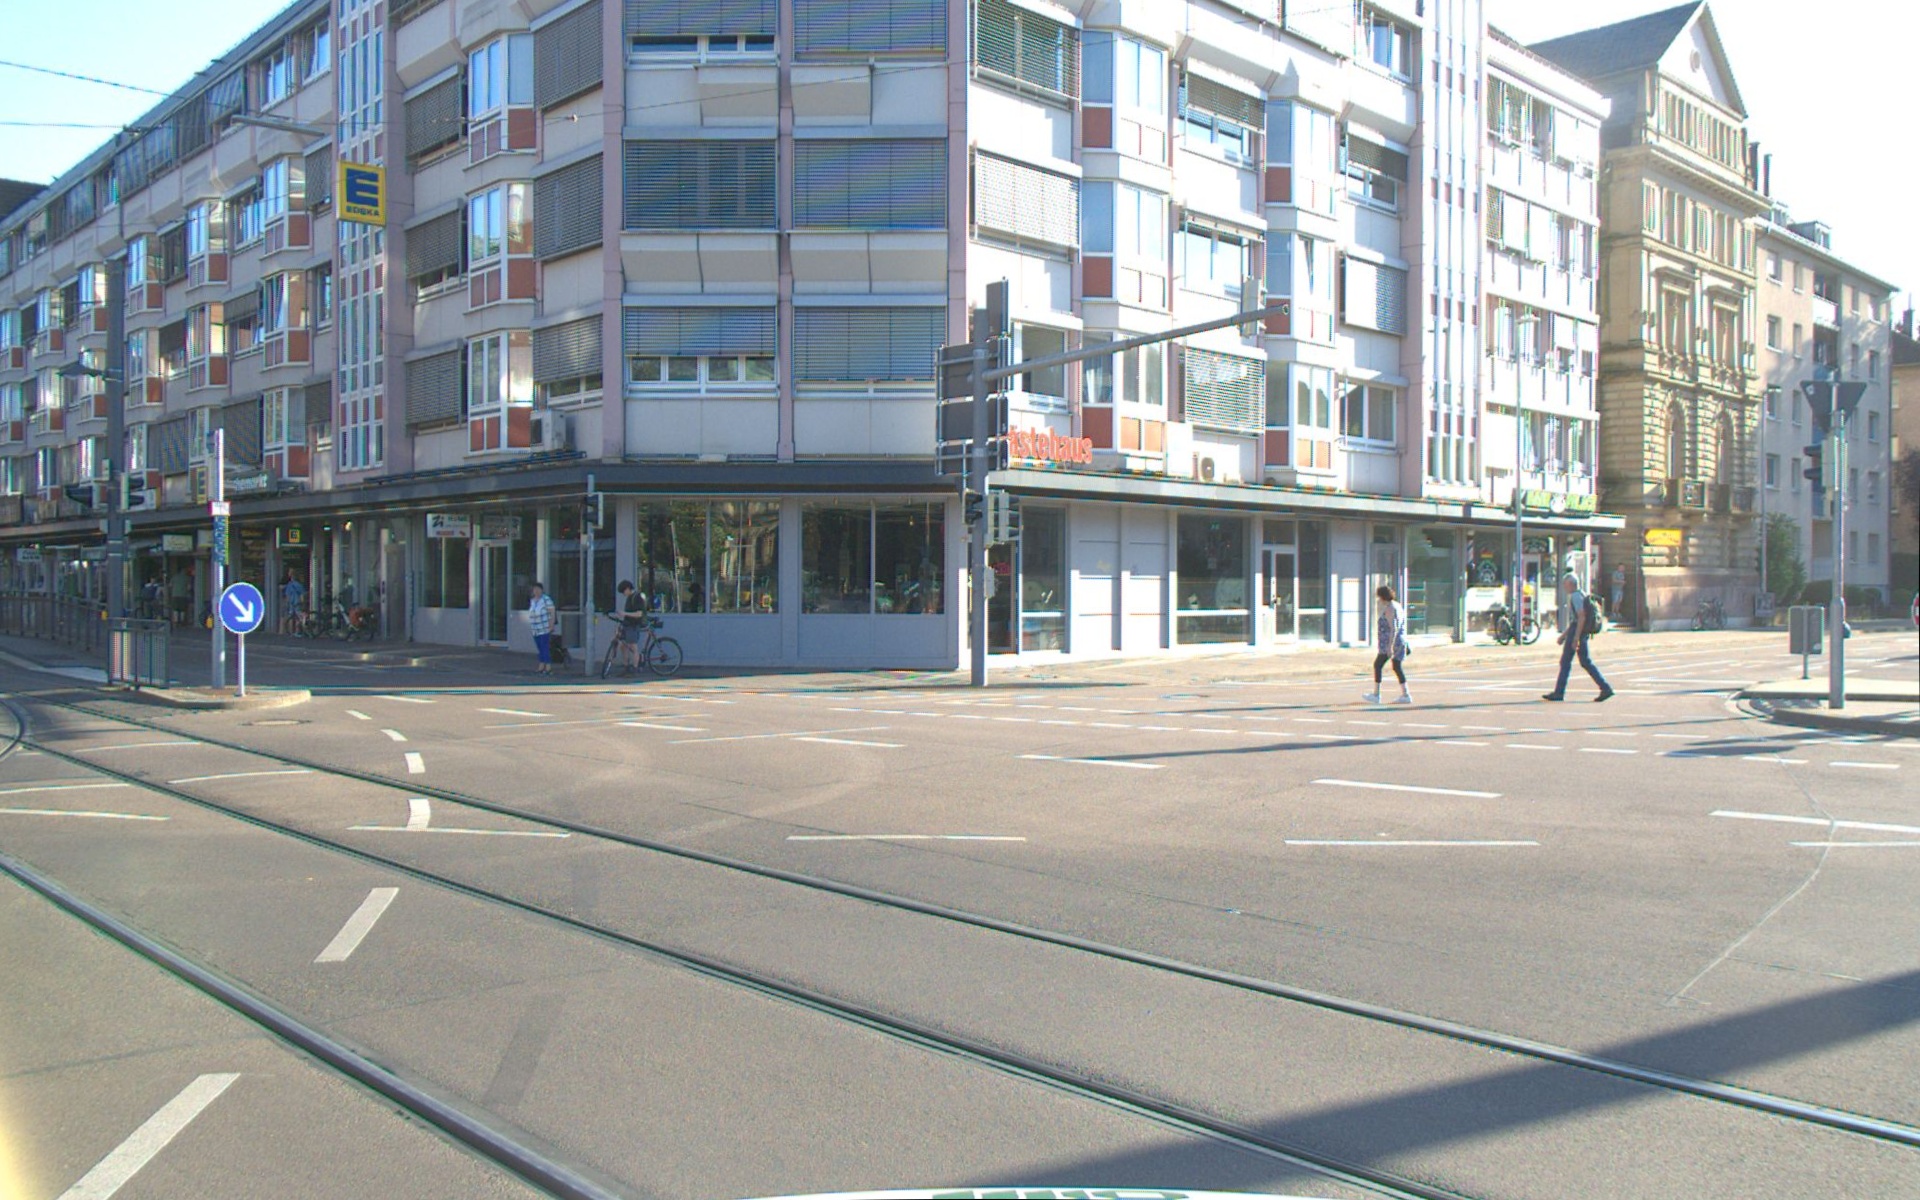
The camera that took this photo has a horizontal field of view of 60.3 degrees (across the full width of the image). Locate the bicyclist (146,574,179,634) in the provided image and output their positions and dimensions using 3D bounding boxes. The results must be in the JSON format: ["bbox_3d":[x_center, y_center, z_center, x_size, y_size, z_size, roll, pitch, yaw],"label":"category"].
[{"bbox_3d":[-21.460,0.110,44.509,0.622,1.559,0.792,-4,3,-36],"label":"bicyclist"}]

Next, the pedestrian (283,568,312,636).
[{"bbox_3d":[-18.570,0.046,46.373,0.604,1.884,0.596,0,2,-36],"label":"pedestrian"}]

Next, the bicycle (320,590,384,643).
[{"bbox_3d":[-14.863,0.379,40.409,0.723,1.248,2.298,0,1,-40],"label":"bicycle"}]

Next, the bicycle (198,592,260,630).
[{"bbox_3d":[-22.189,0.327,50.248,0.556,1.138,1.638,2,2,43],"label":"bicycle"}]

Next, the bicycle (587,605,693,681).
[{"bbox_3d":[-5.593,0.735,28.956,1.756,1.165,0.631,-4,4,-43],"label":"bicycle"}]

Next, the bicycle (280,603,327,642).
[{"bbox_3d":[-16.919,0.569,42.579,0.497,0.933,2.048,0,1,-40],"label":"bicycle"}]

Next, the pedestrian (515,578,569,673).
[{"bbox_3d":[-7.529,0.447,29.815,0.699,1.691,0.634,0,0,20],"label":"pedestrian"}]

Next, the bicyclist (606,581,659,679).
[{"bbox_3d":[-5.712,0.512,28.830,0.653,1.624,0.631,-4,4,-43],"label":"bicyclist"}]

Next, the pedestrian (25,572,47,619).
[{"bbox_3d":[-41.459,-0.202,74.223,0.767,2.048,0.498,-2,3,-38],"label":"pedestrian"}]

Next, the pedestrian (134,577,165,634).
[{"bbox_3d":[-24.405,0.156,49.825,0.745,1.673,0.543,0,2,-37],"label":"pedestrian"}]

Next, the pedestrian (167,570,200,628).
[{"bbox_3d":[-24.591,-0.045,52.381,0.805,1.809,0.677,1,1,-17],"label":"pedestrian"}]

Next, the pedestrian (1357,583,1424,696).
[{"bbox_3d":[5.893,0.548,22.645,0.835,1.490,0.686,2,-4,15],"label":"pedestrian"}]

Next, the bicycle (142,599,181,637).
[{"bbox_3d":[-21.576,0.479,44.690,0.621,0.946,1.887,-4,3,-35],"label":"bicycle"}]

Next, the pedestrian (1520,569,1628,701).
[{"bbox_3d":[8.586,0.469,23.134,1.176,1.761,0.852,2,2,39],"label":"pedestrian"}]

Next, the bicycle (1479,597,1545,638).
[{"bbox_3d":[15.065,0.469,45.128,2.063,1.089,0.448,0,2,-30],"label":"bicycle"}]

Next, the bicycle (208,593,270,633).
[{"bbox_3d":[-21.384,0.379,49.088,0.476,1.138,1.638,2,2,43],"label":"bicycle"}]

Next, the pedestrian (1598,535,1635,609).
[{"bbox_3d":[21.920,-0.943,55.236,0.910,2.439,0.958,2,2,33],"label":"pedestrian"}]

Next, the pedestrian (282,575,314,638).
[{"bbox_3d":[-17.689,0.166,44.185,0.596,1.663,0.604,1,1,-1],"label":"pedestrian"}]
